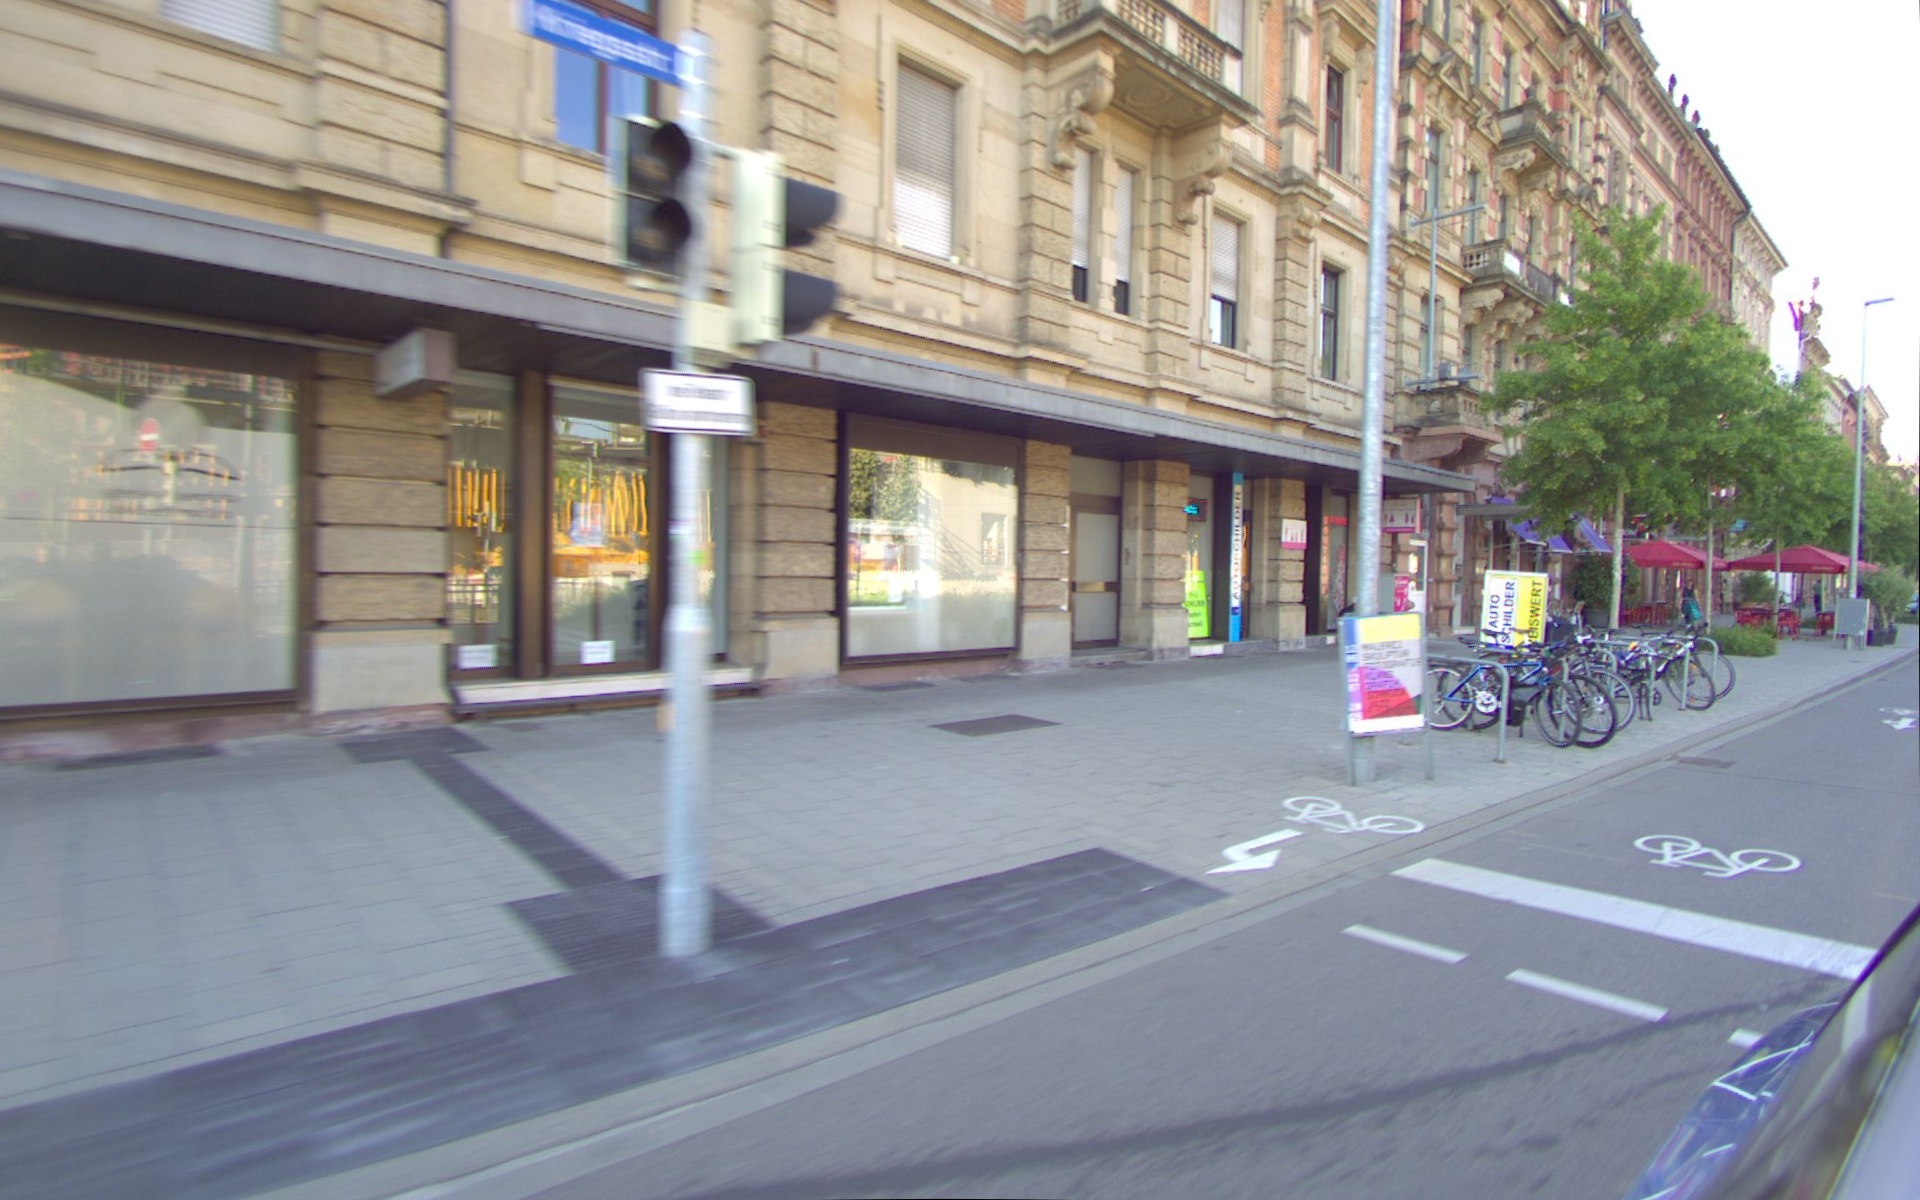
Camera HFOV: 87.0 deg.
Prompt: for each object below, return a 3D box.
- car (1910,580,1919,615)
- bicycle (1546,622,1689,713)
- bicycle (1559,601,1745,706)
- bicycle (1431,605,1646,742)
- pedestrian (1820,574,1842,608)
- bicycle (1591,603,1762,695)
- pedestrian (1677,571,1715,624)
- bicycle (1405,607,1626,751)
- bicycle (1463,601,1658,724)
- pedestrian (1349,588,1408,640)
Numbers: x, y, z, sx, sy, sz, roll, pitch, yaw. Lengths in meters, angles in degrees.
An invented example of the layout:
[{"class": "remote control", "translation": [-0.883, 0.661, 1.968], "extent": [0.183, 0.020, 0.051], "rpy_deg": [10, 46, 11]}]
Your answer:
[{"class": "car", "translation": [47.002, -0.114, 48.460], "extent": [4.225, 1.583, 1.851], "rpy_deg": [-1, 4, -43]}, {"class": "bicycle", "translation": [7.685, 0.765, 11.869], "extent": [0.497, 0.887, 1.279], "rpy_deg": [-1, 4, -37]}, {"class": "bicycle", "translation": [8.841, 0.641, 13.010], "extent": [0.556, 1.117, 1.850], "rpy_deg": [-1, 4, -37]}, {"class": "bicycle", "translation": [5.696, 0.677, 10.071], "extent": [0.497, 1.117, 1.760], "rpy_deg": [-1, 4, -37]}, {"class": "pedestrian", "translation": [46.595, -0.516, 54.135], "extent": [1.054, 1.776, 0.748], "rpy_deg": [-1, 3, -43]}, {"class": "bicycle", "translation": [9.902, 0.640, 14.053], "extent": [0.556, 1.060, 1.811], "rpy_deg": [-1, 4, -37]}, {"class": "pedestrian", "translation": [22.341, -0.091, 30.716], "extent": [0.783, 1.552, 0.729], "rpy_deg": [-1, 4, -43]}, {"class": "bicycle", "translation": [5.255, 0.699, 9.692], "extent": [0.497, 1.117, 1.760], "rpy_deg": [-1, 4, -37]}, {"class": "bicycle", "translation": [6.507, 0.633, 11.055], "extent": [0.497, 1.117, 1.727], "rpy_deg": [-1, 4, -37]}, {"class": "pedestrian", "translation": [8.349, 0.264, 20.188], "extent": [0.790, 0.974, 0.815], "rpy_deg": [-1, 2, -41]}]
